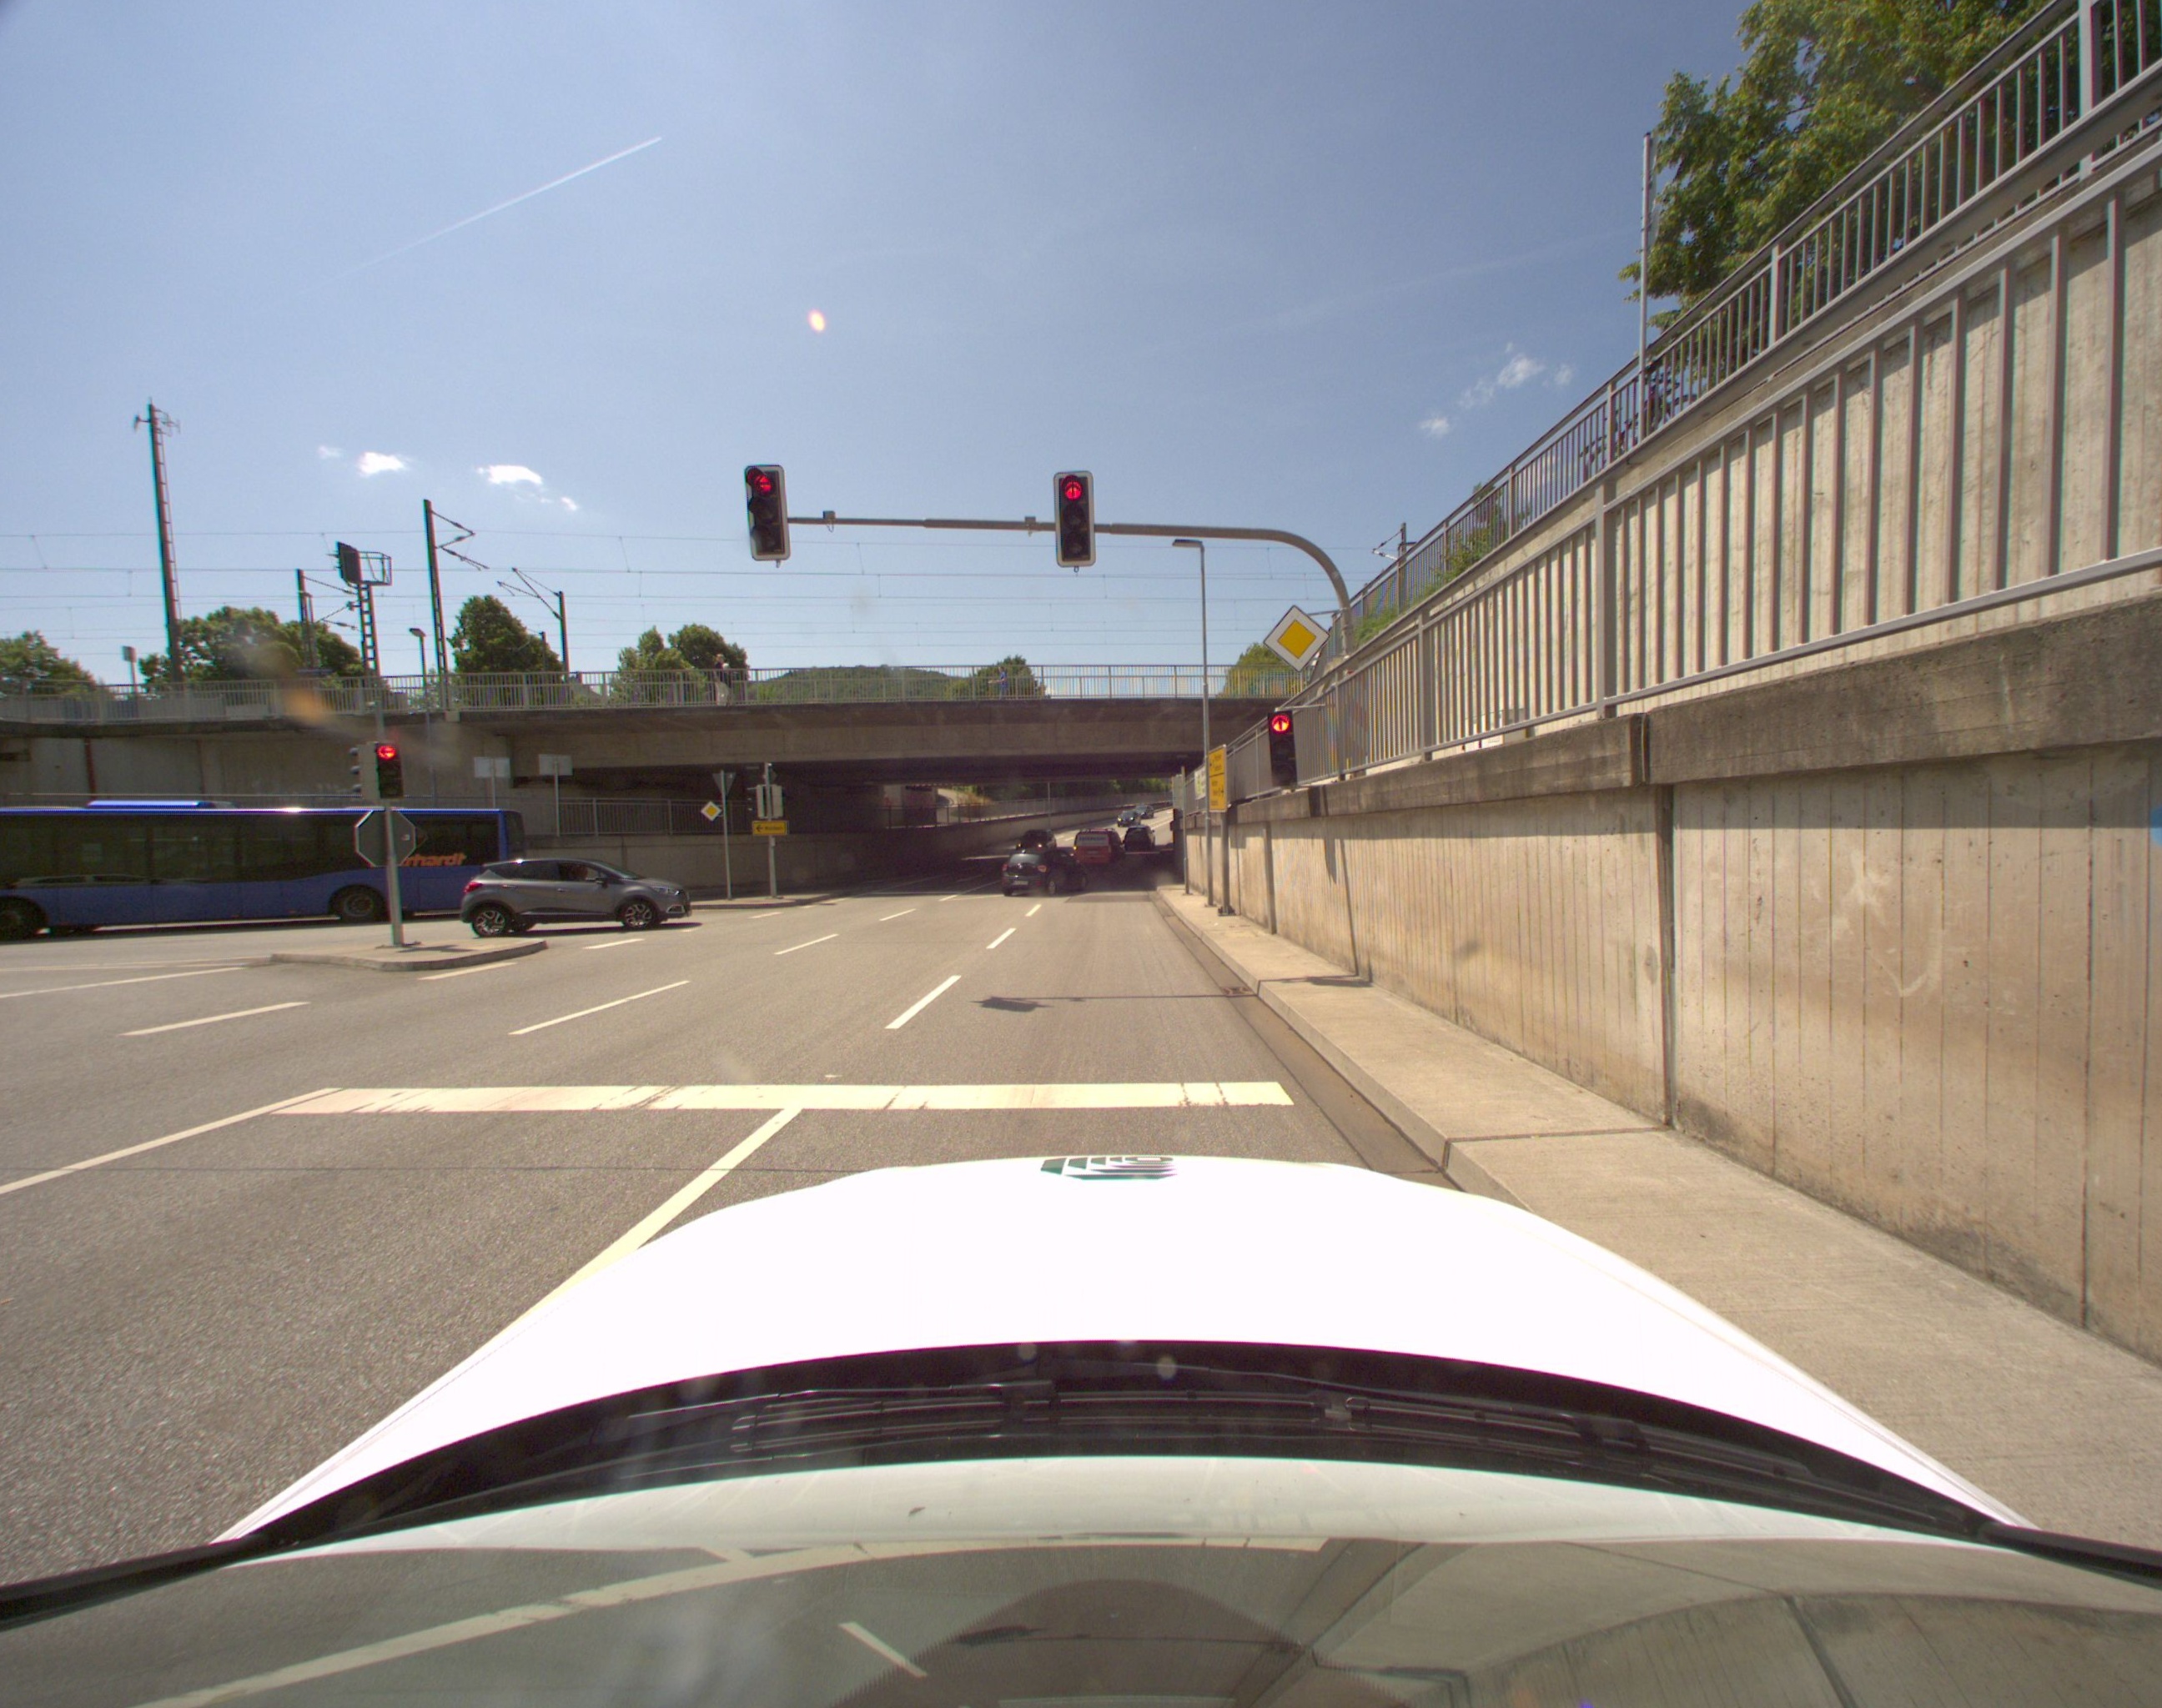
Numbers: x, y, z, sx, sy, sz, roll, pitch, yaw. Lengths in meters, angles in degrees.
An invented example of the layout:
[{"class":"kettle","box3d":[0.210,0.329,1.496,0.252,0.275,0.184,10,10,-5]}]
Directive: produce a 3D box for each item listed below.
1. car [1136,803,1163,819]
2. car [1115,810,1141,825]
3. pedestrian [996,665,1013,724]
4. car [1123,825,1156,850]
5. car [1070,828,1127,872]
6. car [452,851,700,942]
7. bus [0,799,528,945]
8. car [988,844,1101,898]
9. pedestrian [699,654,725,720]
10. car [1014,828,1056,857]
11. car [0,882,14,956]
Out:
[{"class":"car","box3d":[7.618,-4.757,90.242,1.977,1.588,4.021,-1,2,20]},{"class":"car","box3d":[4.628,-3.589,79.744,1.769,1.436,4.017,-1,2,15]},{"class":"pedestrian","box3d":[-2.866,-5.951,30.449,0.538,2.081,0.534,-2,0,-5]},{"class":"car","box3d":[4.017,-1.155,55.363,1.793,1.617,4.013,-1,2,10]},{"class":"car","box3d":[0.918,-0.248,38.948,1.860,1.932,4.735,-1,2,11]},{"class":"car","box3d":[-10.504,0.817,17.324,3.994,1.588,1.990,-2,2,-15]},{"class":"bus","box3d":[-21.835,0.291,20.791,12.400,3.172,2.568,-2,2,-26]},{"class":"car","box3d":[-1.099,0.490,26.648,1.975,1.508,4.024,-1,2,26]},{"class":"pedestrian","box3d":[-12.218,-5.519,26.966,0.576,2.081,0.533,-2,0,-9]},{"class":"car","box3d":[-2.717,-0.717,48.878,1.984,1.627,4.006,-1,2,4]},{"class":"car","box3d":[-22.910,1.343,15.012,3.976,1.420,1.730,-1,2,-2]}]
